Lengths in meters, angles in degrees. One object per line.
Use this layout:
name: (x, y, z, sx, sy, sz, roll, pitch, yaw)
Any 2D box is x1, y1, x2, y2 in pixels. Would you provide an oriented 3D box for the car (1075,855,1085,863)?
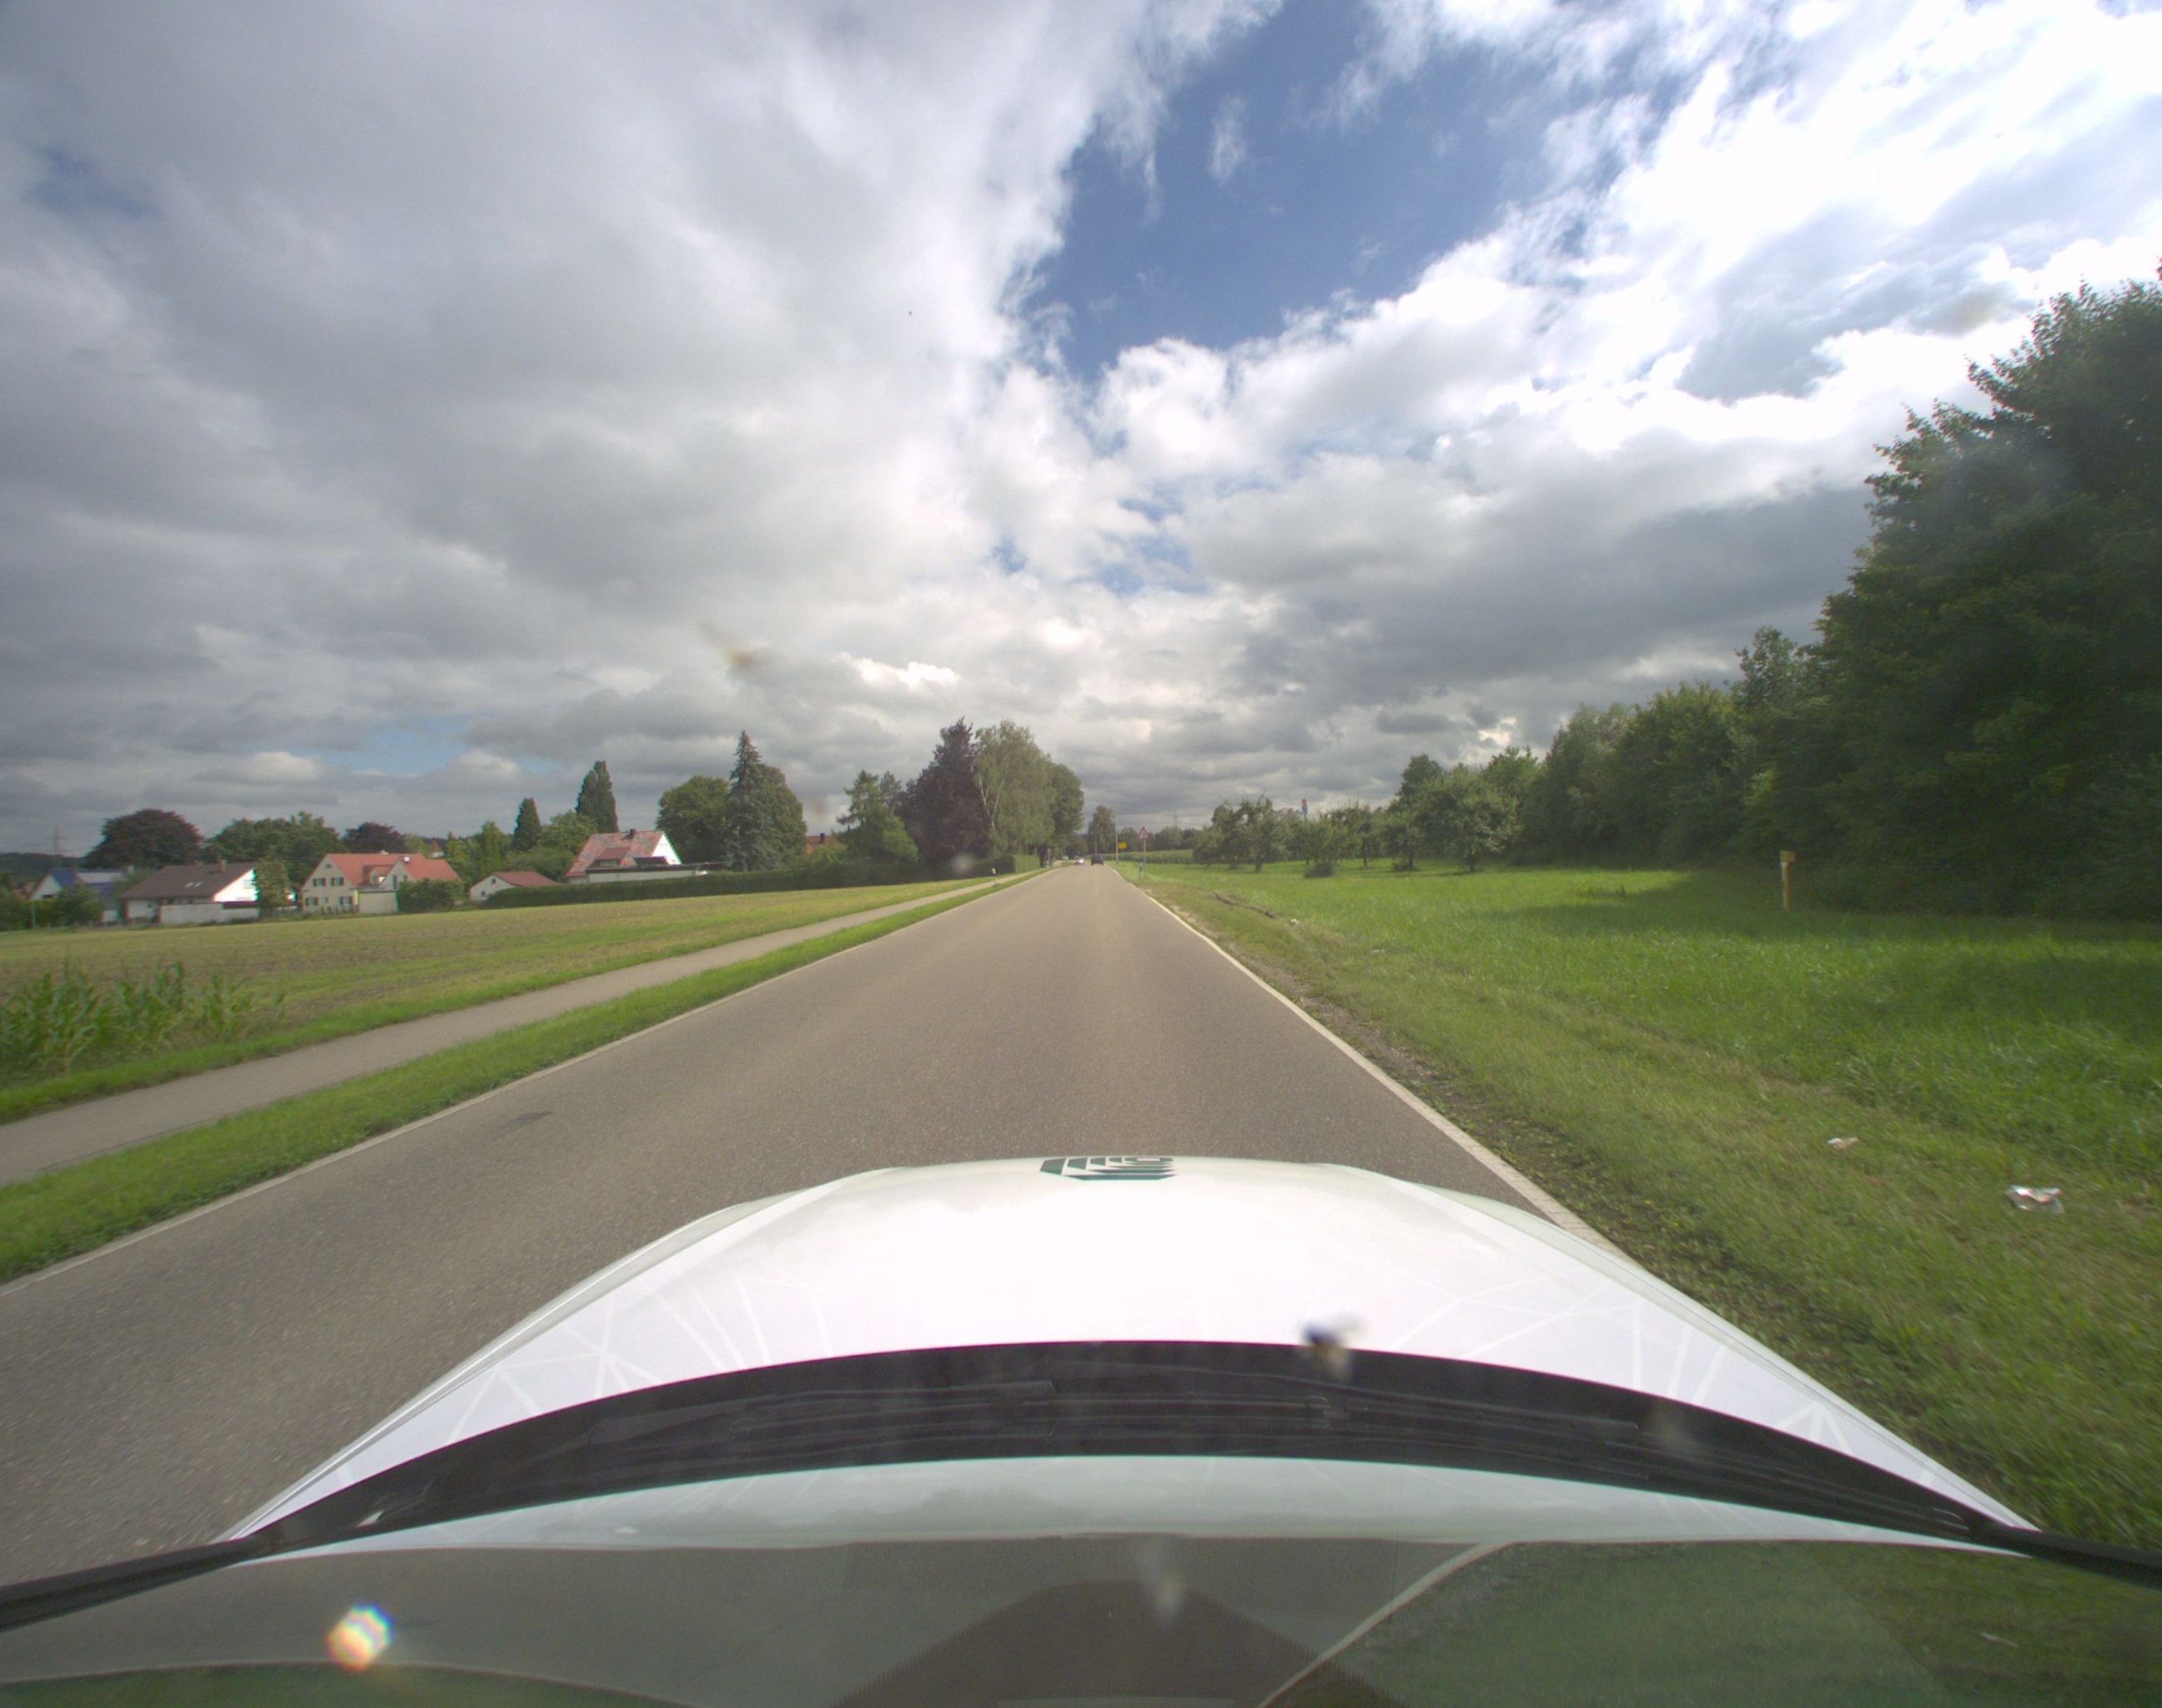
car: (-0.257, 0.873, 150.344, 1.689, 1.459, 3.544, -3, 0, 1)

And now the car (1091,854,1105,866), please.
car: (2.546, 0.889, 124.157, 1.901, 1.666, 3.998, -4, 0, -1)
